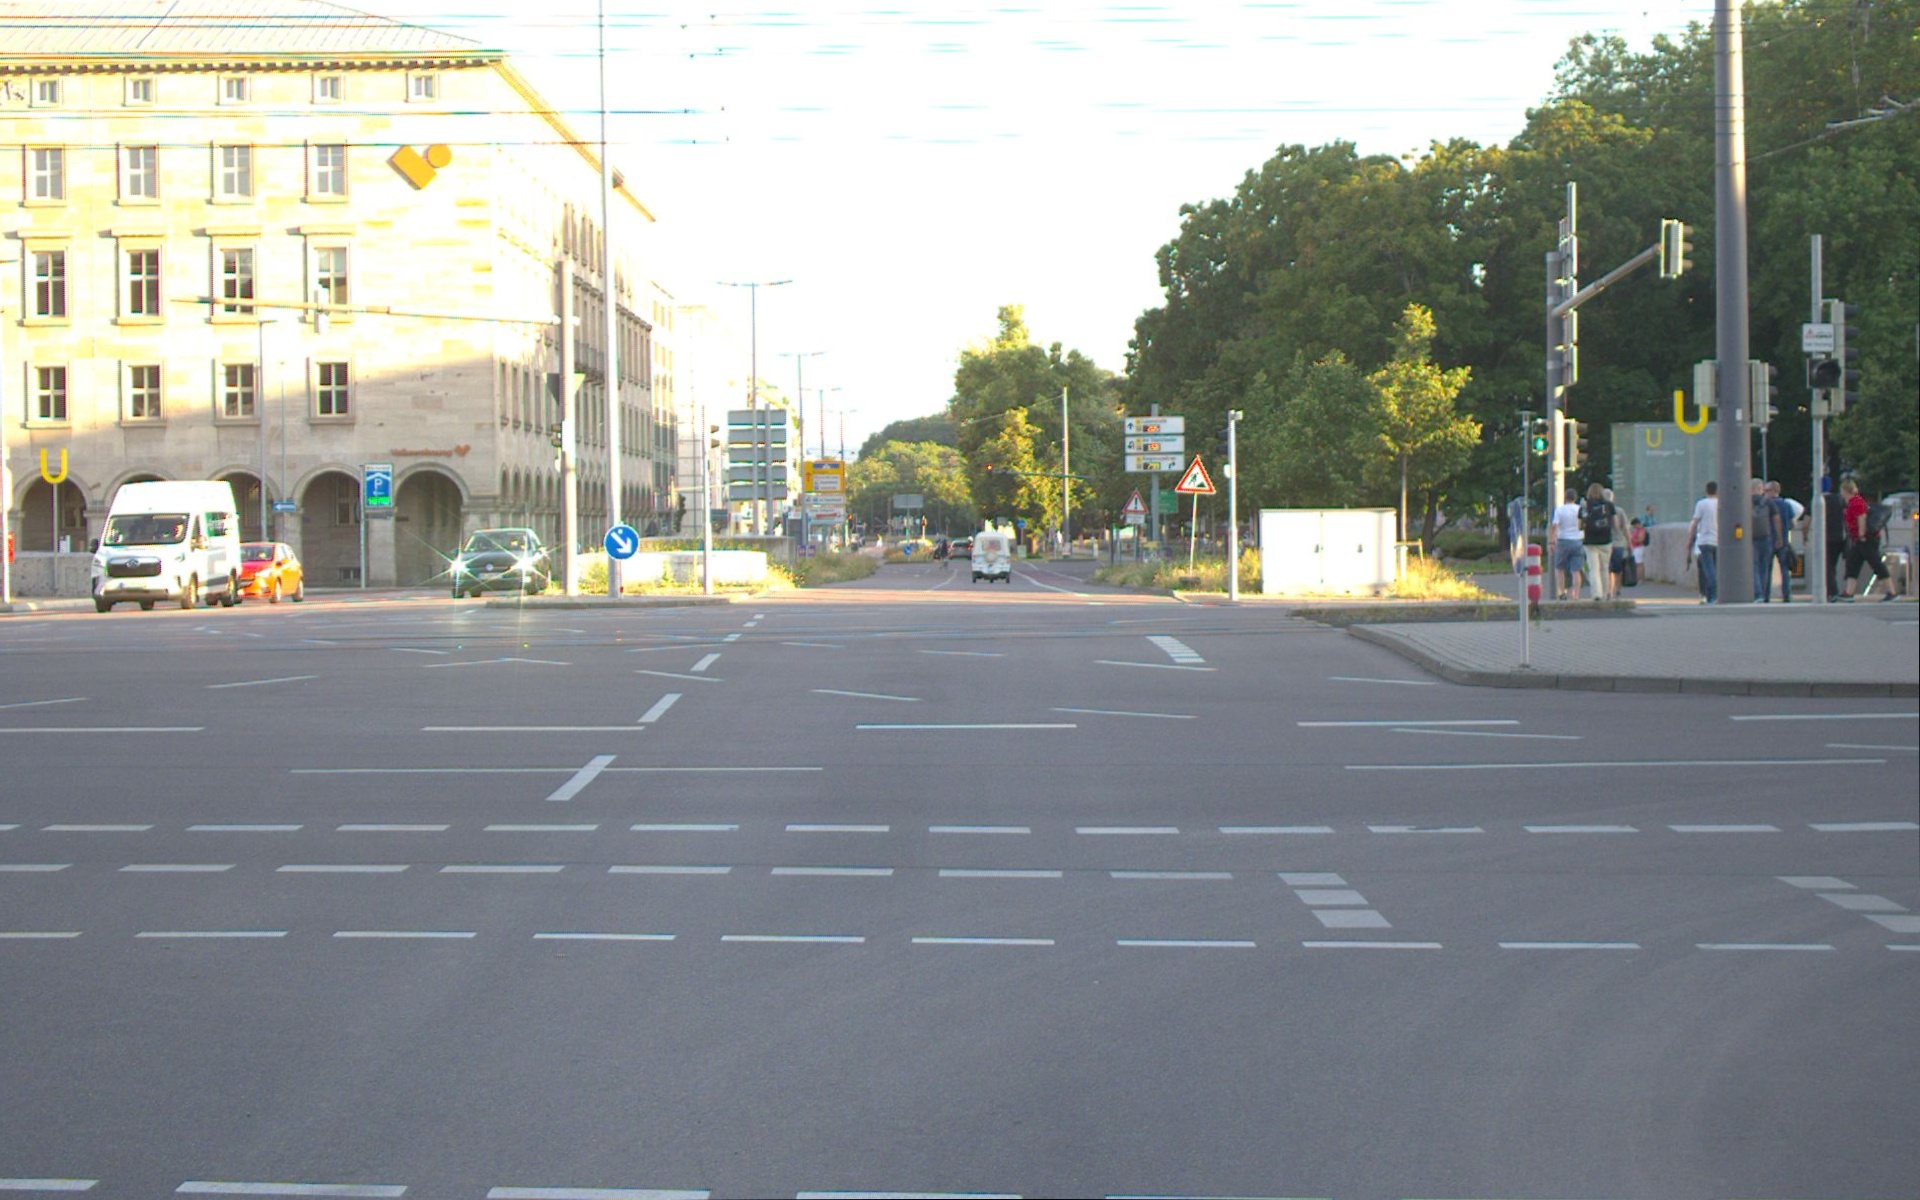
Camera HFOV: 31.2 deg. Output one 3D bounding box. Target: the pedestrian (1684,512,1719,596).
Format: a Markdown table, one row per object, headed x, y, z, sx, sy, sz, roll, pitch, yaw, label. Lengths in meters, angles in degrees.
| x | y | z | sx | sy | sz | roll | pitch | yaw | label |
| --- | --- | --- | --- | --- | --- | --- | --- | --- | --- |
| 12.831 | -0.803 | 59.489 | 0.572 | 1.433 | 0.638 | 0 | 2 | 11 | pedestrian |

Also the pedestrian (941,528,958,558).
| x | y | z | sx | sy | sz | roll | pitch | yaw | label |
| --- | --- | --- | --- | --- | --- | --- | --- | --- | --- |
| -0.608 | -3.218 | 194.469 | 0.906 | 1.665 | 1.307 | -1 | 2 | -1 | pedestrian |

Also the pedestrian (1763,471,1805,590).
| x | y | z | sx | sy | sz | roll | pitch | yaw | label |
| --- | --- | --- | --- | --- | --- | --- | --- | --- | --- |
| 11.709 | -0.992 | 48.838 | 0.572 | 1.673 | 0.638 | 0 | 2 | 14 | pedestrian |

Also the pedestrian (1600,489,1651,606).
| x | y | z | sx | sy | sz | roll | pitch | yaw | label |
| --- | --- | --- | --- | --- | --- | --- | --- | --- | --- |
| 9.901 | -0.789 | 51.164 | 0.711 | 1.719 | 0.668 | 0 | 2 | 13 | pedestrian |

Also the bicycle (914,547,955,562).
| x | y | z | sx | sy | sz | roll | pitch | yaw | label |
| --- | --- | --- | --- | --- | --- | --- | --- | --- | --- |
| -1.617 | -2.940 | 221.602 | 2.601 | 0.955 | 0.515 | 1 | 0 | -19 | bicycle |

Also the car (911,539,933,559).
| x | y | z | sx | sy | sz | roll | pitch | yaw | label |
| --- | --- | --- | --- | --- | --- | --- | --- | --- | --- |
| -2.616 | -3.492 | 235.150 | 1.369 | 1.230 | 3.046 | -1 | 2 | -2 | car |

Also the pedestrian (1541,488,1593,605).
| x | y | z | sx | sy | sz | roll | pitch | yaw | label |
| --- | --- | --- | --- | --- | --- | --- | --- | --- | --- |
| 9.076 | -0.803 | 51.381 | 0.711 | 1.719 | 0.668 | 0 | 2 | 13 | pedestrian |

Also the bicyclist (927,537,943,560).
| x | y | z | sx | sy | sz | roll | pitch | yaw | label |
| --- | --- | --- | --- | --- | --- | --- | --- | --- | --- |
| -1.614 | -3.340 | 221.615 | 0.830 | 1.458 | 0.661 | -1 | 2 | -19 | bicyclist |

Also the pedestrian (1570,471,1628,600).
| x | y | z | sx | sy | sz | roll | pitch | yaw | label |
| --- | --- | --- | --- | --- | --- | --- | --- | --- | --- |
| 8.638 | -0.878 | 46.453 | 0.711 | 1.719 | 0.914 | 0 | 2 | 13 | pedestrian |

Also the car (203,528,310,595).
| x | y | z | sx | sy | sz | roll | pitch | yaw | label |
| --- | --- | --- | --- | --- | --- | --- | --- | --- | --- |
| -16.557 | -0.932 | 81.086 | 1.738 | 1.482 | 4.001 | -1 | 2 | -1 | car |

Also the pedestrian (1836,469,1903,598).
| x | y | z | sx | sy | sz | roll | pitch | yaw | label |
| --- | --- | --- | --- | --- | --- | --- | --- | --- | --- |
| 12.255 | -0.897 | 46.333 | 0.845 | 1.728 | 0.705 | 0 | 2 | 13 | pedestrian |

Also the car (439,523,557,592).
| x | y | z | sx | sy | sz | roll | pitch | yaw | label |
| --- | --- | --- | --- | --- | --- | --- | --- | --- | --- |
| -9.706 | -0.915 | 72.501 | 1.823 | 1.337 | 4.000 | -1 | 2 | 2 | car |

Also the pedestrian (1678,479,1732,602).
| x | y | z | sx | sy | sz | roll | pitch | yaw | label |
| --- | --- | --- | --- | --- | --- | --- | --- | --- | --- |
| 10.524 | -0.847 | 48.535 | 0.711 | 1.719 | 0.914 | 0 | 2 | 14 | pedestrian |

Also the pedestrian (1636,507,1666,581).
| x | y | z | sx | sy | sz | roll | pitch | yaw | label |
| --- | --- | --- | --- | --- | --- | --- | --- | --- | --- |
| 17.459 | -1.420 | 86.854 | 0.666 | 1.836 | 0.713 | 0 | 2 | 5 | pedestrian |

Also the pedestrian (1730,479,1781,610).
| x | y | z | sx | sy | sz | roll | pitch | yaw | label |
| --- | --- | --- | --- | --- | --- | --- | --- | --- | --- |
| 10.966 | -0.769 | 47.377 | 0.573 | 1.785 | 0.638 | 0 | 2 | 23 | pedestrian |

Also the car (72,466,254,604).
| x | y | z | sx | sy | sz | roll | pitch | yaw | label |
| --- | --- | --- | --- | --- | --- | --- | --- | --- | --- |
| -16.708 | -1.391 | 72.430 | 2.279 | 2.766 | 6.084 | -1 | 2 | 1 | car |

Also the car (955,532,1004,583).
| x | y | z | sx | sy | sz | roll | pitch | yaw | label |
| --- | --- | --- | --- | --- | --- | --- | --- | --- | --- |
| 0.654 | -1.488 | 118.646 | 1.483 | 1.690 | 2.974 | -1 | 2 | -4 | car |

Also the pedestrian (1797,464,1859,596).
| x | y | z | sx | sy | sz | roll | pitch | yaw | label |
| --- | --- | --- | --- | --- | --- | --- | --- | --- | --- |
| 11.878 | -0.965 | 47.073 | 0.805 | 1.785 | 0.800 | 0 | 2 | 14 | pedestrian |

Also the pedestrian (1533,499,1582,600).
| x | y | z | sx | sy | sz | roll | pitch | yaw | label |
| --- | --- | --- | --- | --- | --- | --- | --- | --- | --- |
| 10.536 | -0.896 | 60.601 | 0.680 | 1.751 | 0.901 | 0 | 2 | 20 | pedestrian |
